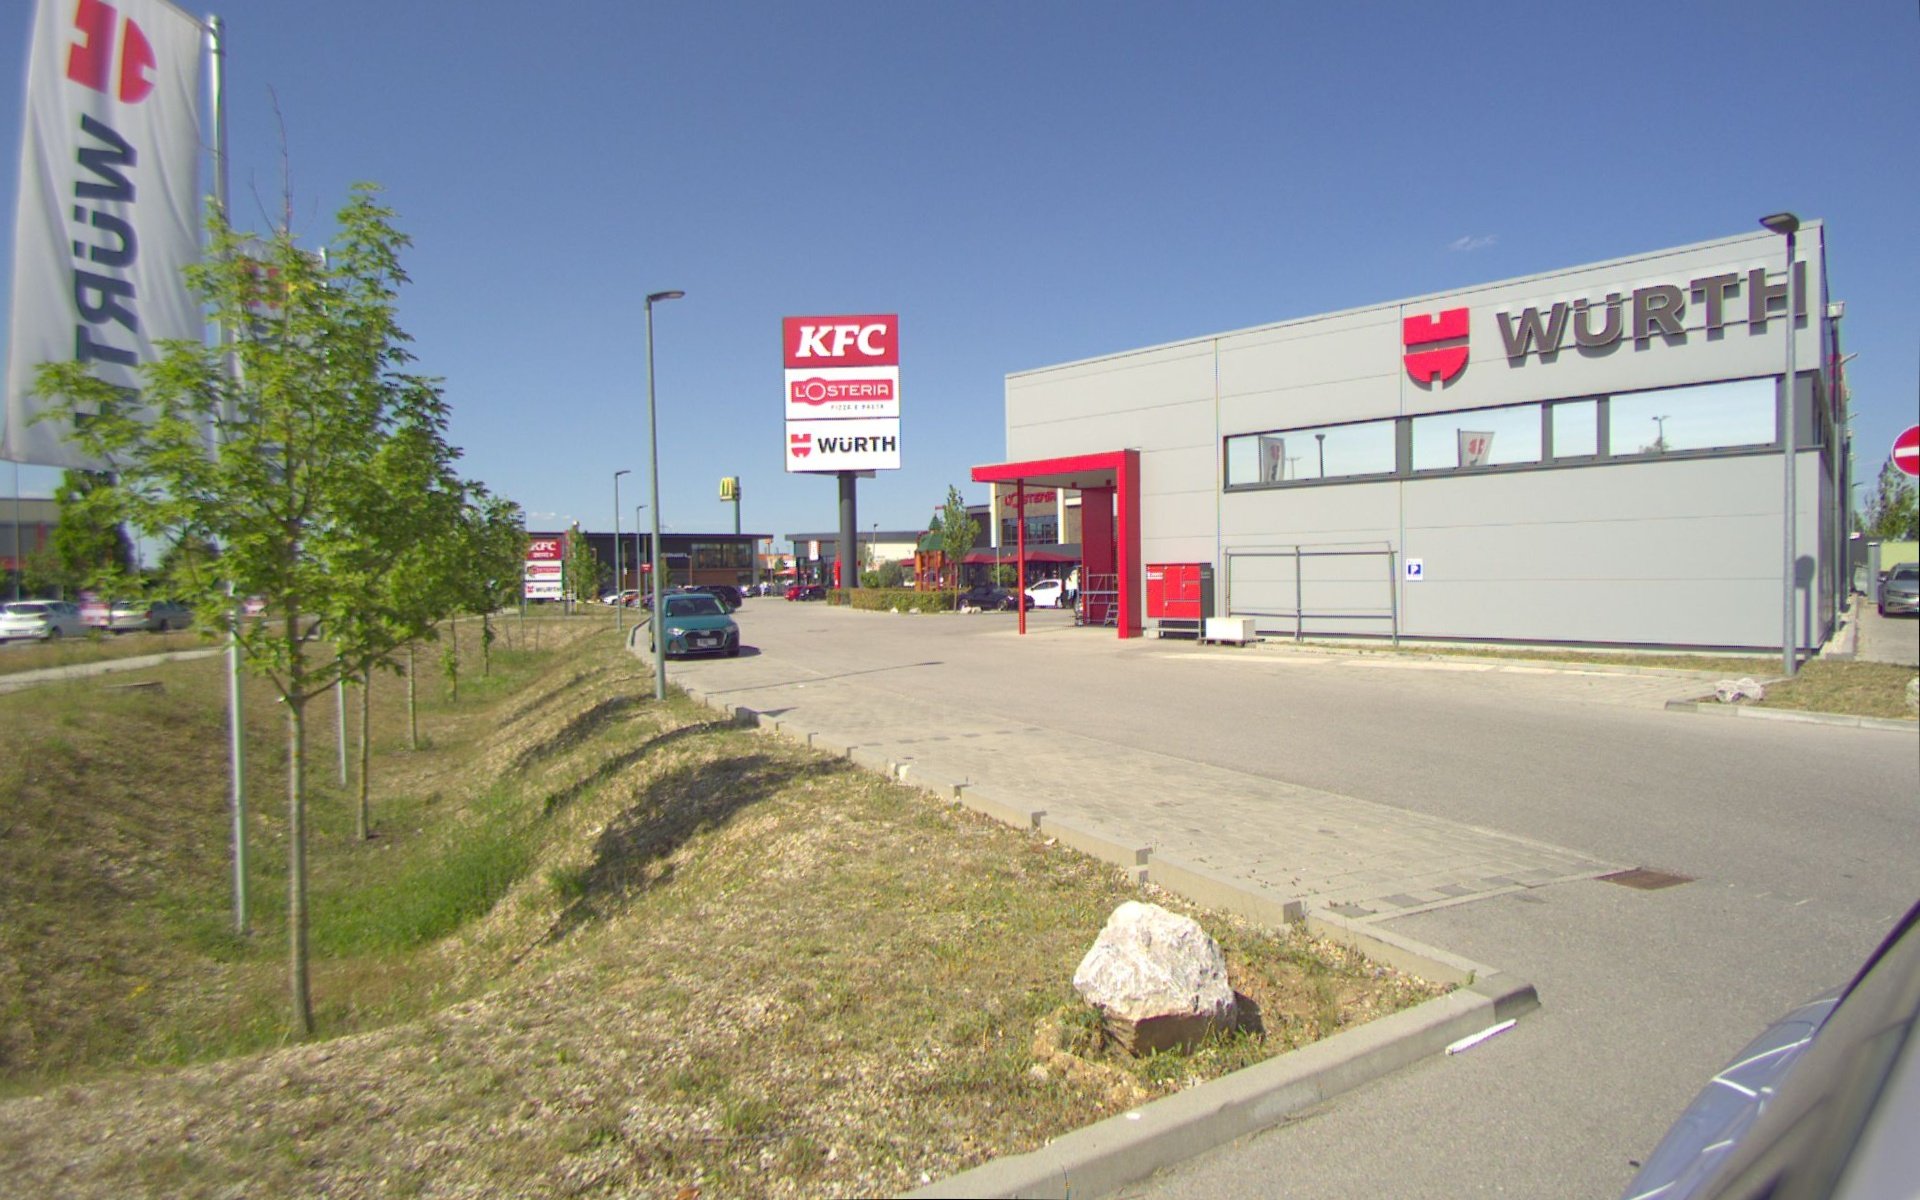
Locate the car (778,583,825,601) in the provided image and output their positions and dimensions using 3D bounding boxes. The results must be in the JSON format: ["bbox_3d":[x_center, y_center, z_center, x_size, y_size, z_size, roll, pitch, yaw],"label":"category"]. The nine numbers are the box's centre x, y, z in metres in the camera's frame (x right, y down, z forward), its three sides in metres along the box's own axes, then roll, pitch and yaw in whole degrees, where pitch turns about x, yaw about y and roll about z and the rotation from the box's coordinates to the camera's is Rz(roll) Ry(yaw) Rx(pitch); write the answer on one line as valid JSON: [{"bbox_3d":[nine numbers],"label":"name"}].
[{"bbox_3d":[-15.148,-0.808,96.534,4.021,1.585,1.878,-2,1,-37],"label":"car"}]

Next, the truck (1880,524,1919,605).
[{"bbox_3d":[30.656,-1.155,32.086,2.115,2.406,5.802,-1,1,42],"label":"truck"}]

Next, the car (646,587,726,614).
[{"bbox_3d":[-16.494,0.028,60.897,4.439,1.477,2.004,-2,1,-21],"label":"car"}]

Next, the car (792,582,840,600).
[{"bbox_3d":[-13.408,-0.854,94.432,4.021,1.585,1.878,-2,1,-37],"label":"car"}]

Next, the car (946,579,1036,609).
[{"bbox_3d":[1.461,-0.280,48.658,4.137,1.354,1.804,-1,1,42],"label":"car"}]

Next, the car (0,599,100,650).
[{"bbox_3d":[-32.425,0.838,35.338,1.906,1.570,4.771,-2,2,-18],"label":"car"}]

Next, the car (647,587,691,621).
[{"bbox_3d":[-13.574,0.152,47.409,1.839,1.484,4.373,-2,1,-15],"label":"car"}]

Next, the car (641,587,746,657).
[{"bbox_3d":[-6.440,0.459,24.152,1.808,1.467,4.235,-2,1,-23],"label":"car"}]

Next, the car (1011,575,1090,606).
[{"bbox_3d":[4.634,-0.468,52.242,1.773,1.493,3.904,-2,1,-43],"label":"car"}]

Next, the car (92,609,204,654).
[{"bbox_3d":[-34.610,1.291,43.323,1.906,1.570,4.771,-2,2,-15],"label":"car"}]

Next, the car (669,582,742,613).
[{"bbox_3d":[-16.379,-0.188,65.298,4.440,1.858,2.004,-2,1,-11],"label":"car"}]

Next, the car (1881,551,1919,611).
[{"bbox_3d":[26.213,-0.552,27.259,1.871,1.527,3.943,-1,1,40],"label":"car"}]
